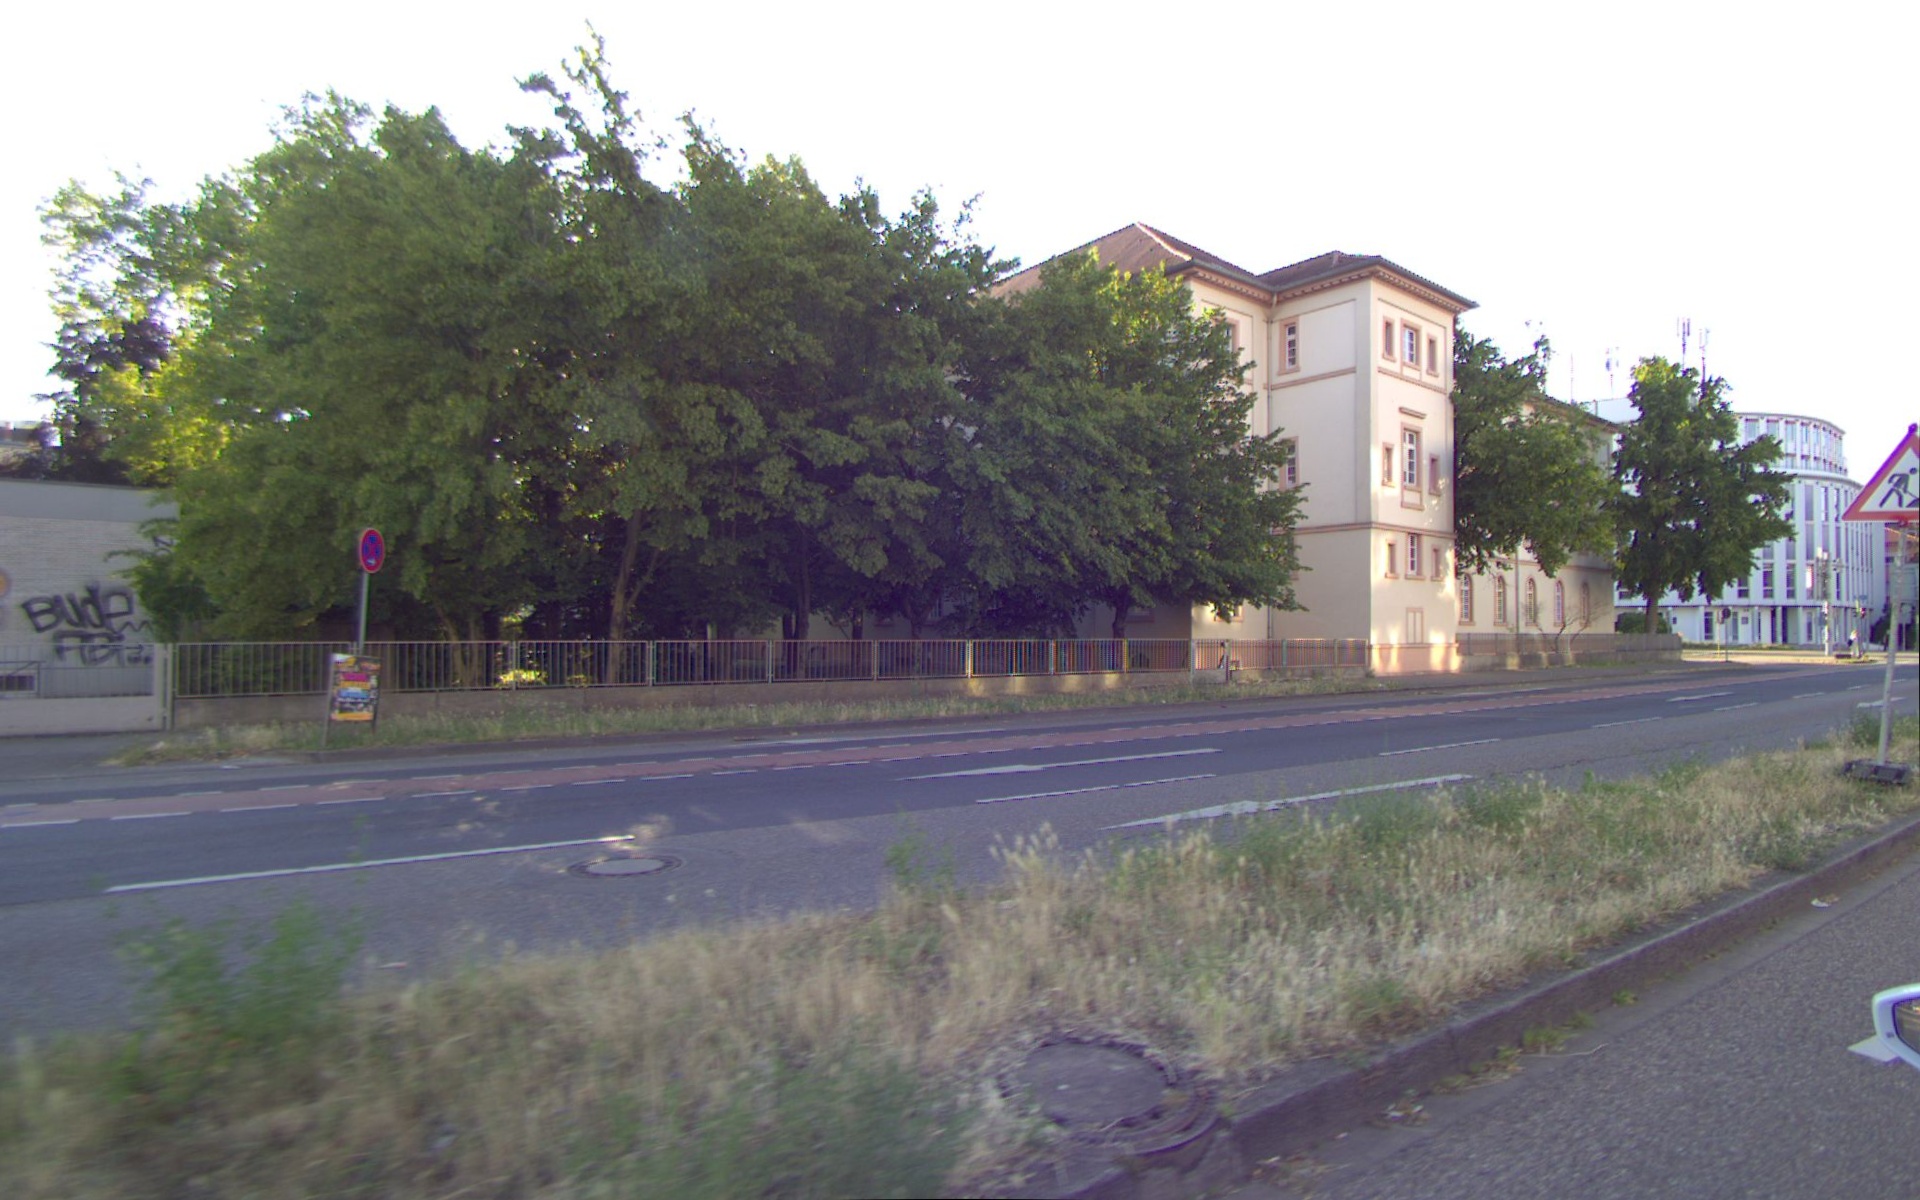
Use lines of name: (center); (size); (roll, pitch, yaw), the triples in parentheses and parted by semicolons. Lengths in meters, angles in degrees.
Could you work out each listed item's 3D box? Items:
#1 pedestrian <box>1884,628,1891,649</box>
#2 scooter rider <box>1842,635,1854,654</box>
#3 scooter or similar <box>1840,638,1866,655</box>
pedestrian: (72.760, 3.022, 78.782); (0.565, 1.681, 0.372); (1, -2, -45)
scooter rider: (52.005, 2.599, 58.836); (0.503, 1.049, 0.444); (1, 0, 41)
scooter or similar: (52.164, 2.711, 58.678); (1.087, 0.989, 0.556); (1, -1, 42)
